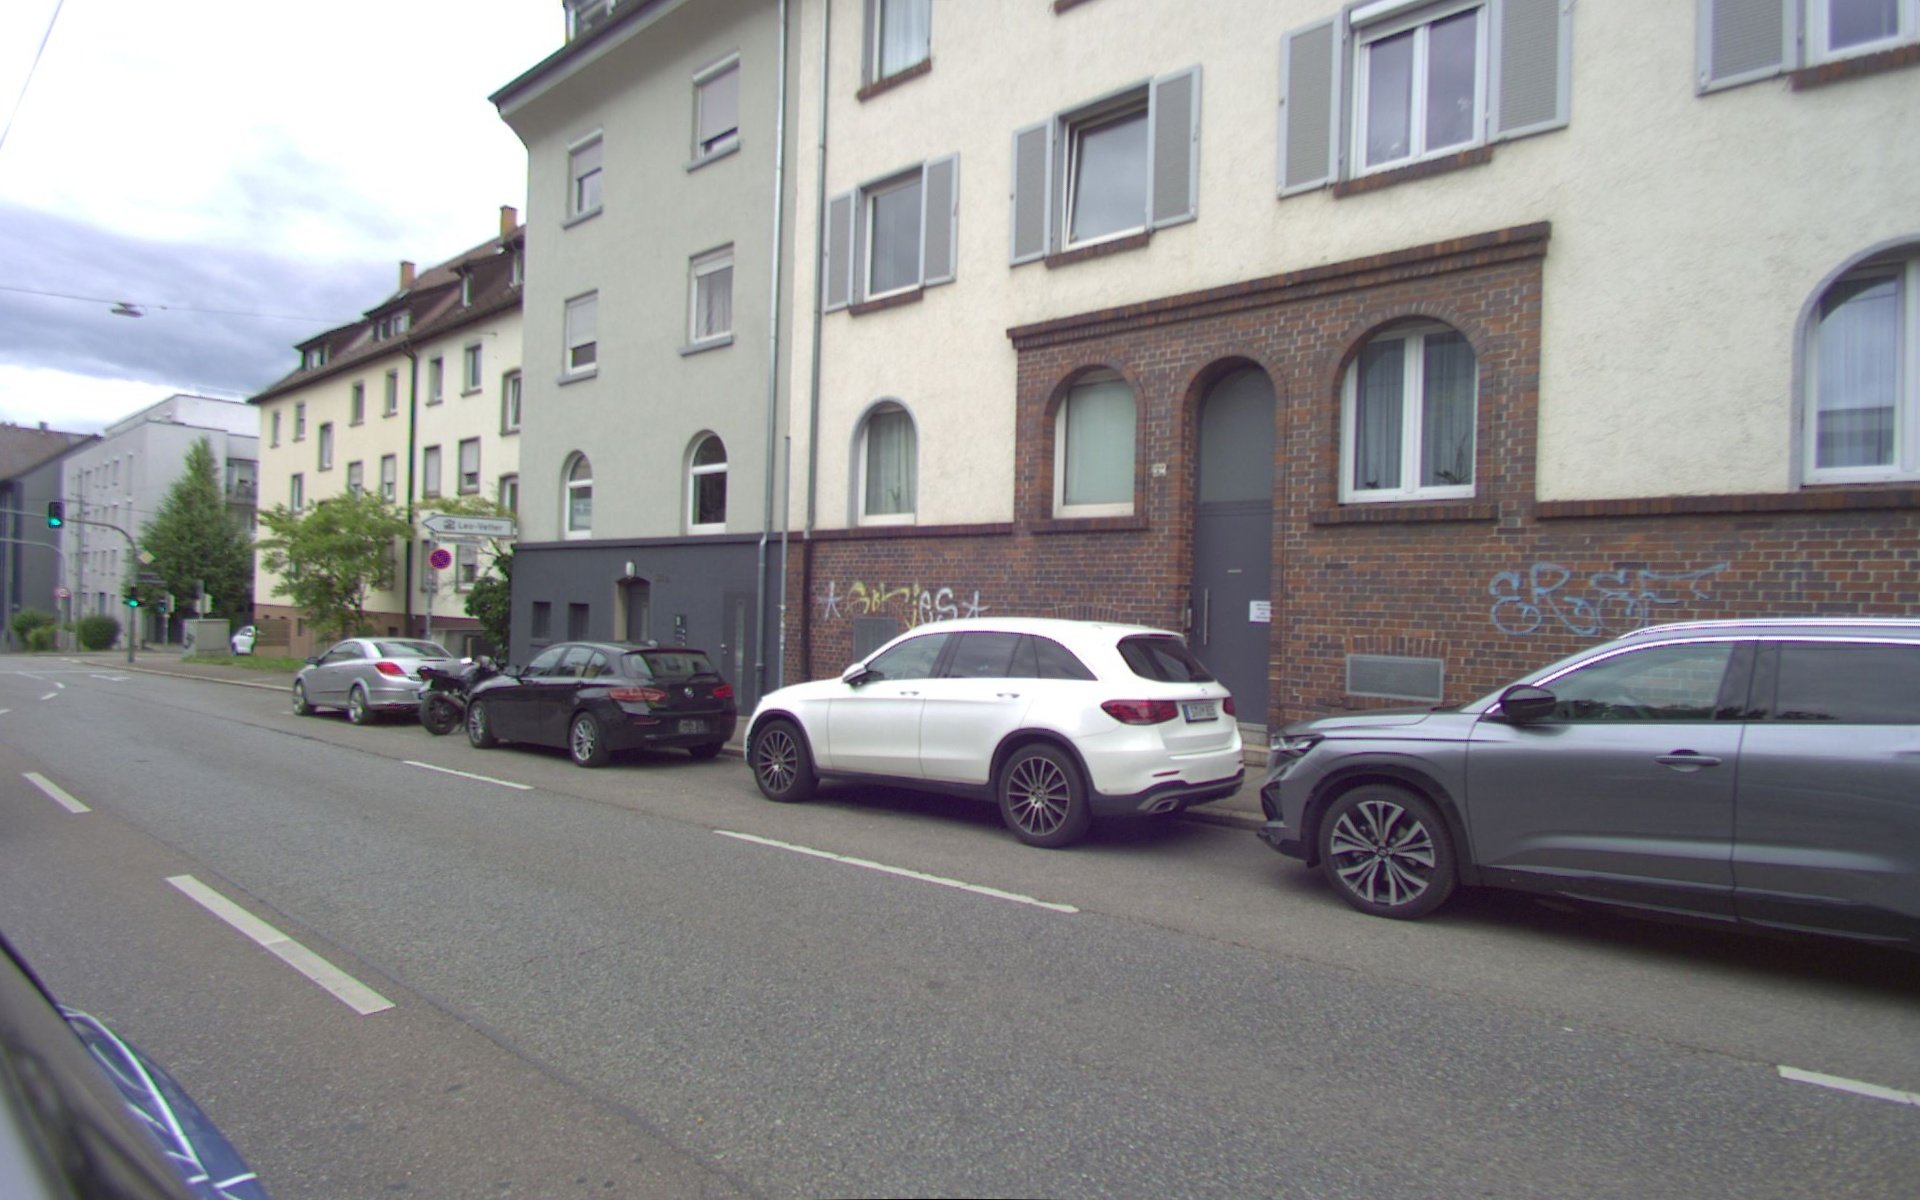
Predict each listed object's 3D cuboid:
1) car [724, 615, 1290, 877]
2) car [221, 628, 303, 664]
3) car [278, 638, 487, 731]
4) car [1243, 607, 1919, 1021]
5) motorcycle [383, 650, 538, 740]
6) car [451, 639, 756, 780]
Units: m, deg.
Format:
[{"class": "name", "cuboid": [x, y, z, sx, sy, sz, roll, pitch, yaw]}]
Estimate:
[{"class": "car", "cuboid": [0.178, 0.994, 8.570, 4.640, 1.634, 1.826, -2, -3, 40]}, {"class": "car", "cuboid": [-32.376, 2.162, 46.910, 4.252, 1.549, 1.797, -3, -5, 37]}, {"class": "car", "cuboid": [-10.003, 1.362, 17.400, 4.333, 1.384, 1.709, -2, -3, 40]}, {"class": "car", "cuboid": [3.875, 0.875, 5.011, 4.502, 1.611, 1.708, -2, -3, 43]}, {"class": "motorcycle", "cuboid": [-7.492, 1.411, 15.297, 0.802, 1.245, 2.030, -1, -4, 23]}, {"class": "car", "cuboid": [-4.530, 1.222, 12.556, 4.189, 1.440, 1.709, -2, -3, 41]}]
